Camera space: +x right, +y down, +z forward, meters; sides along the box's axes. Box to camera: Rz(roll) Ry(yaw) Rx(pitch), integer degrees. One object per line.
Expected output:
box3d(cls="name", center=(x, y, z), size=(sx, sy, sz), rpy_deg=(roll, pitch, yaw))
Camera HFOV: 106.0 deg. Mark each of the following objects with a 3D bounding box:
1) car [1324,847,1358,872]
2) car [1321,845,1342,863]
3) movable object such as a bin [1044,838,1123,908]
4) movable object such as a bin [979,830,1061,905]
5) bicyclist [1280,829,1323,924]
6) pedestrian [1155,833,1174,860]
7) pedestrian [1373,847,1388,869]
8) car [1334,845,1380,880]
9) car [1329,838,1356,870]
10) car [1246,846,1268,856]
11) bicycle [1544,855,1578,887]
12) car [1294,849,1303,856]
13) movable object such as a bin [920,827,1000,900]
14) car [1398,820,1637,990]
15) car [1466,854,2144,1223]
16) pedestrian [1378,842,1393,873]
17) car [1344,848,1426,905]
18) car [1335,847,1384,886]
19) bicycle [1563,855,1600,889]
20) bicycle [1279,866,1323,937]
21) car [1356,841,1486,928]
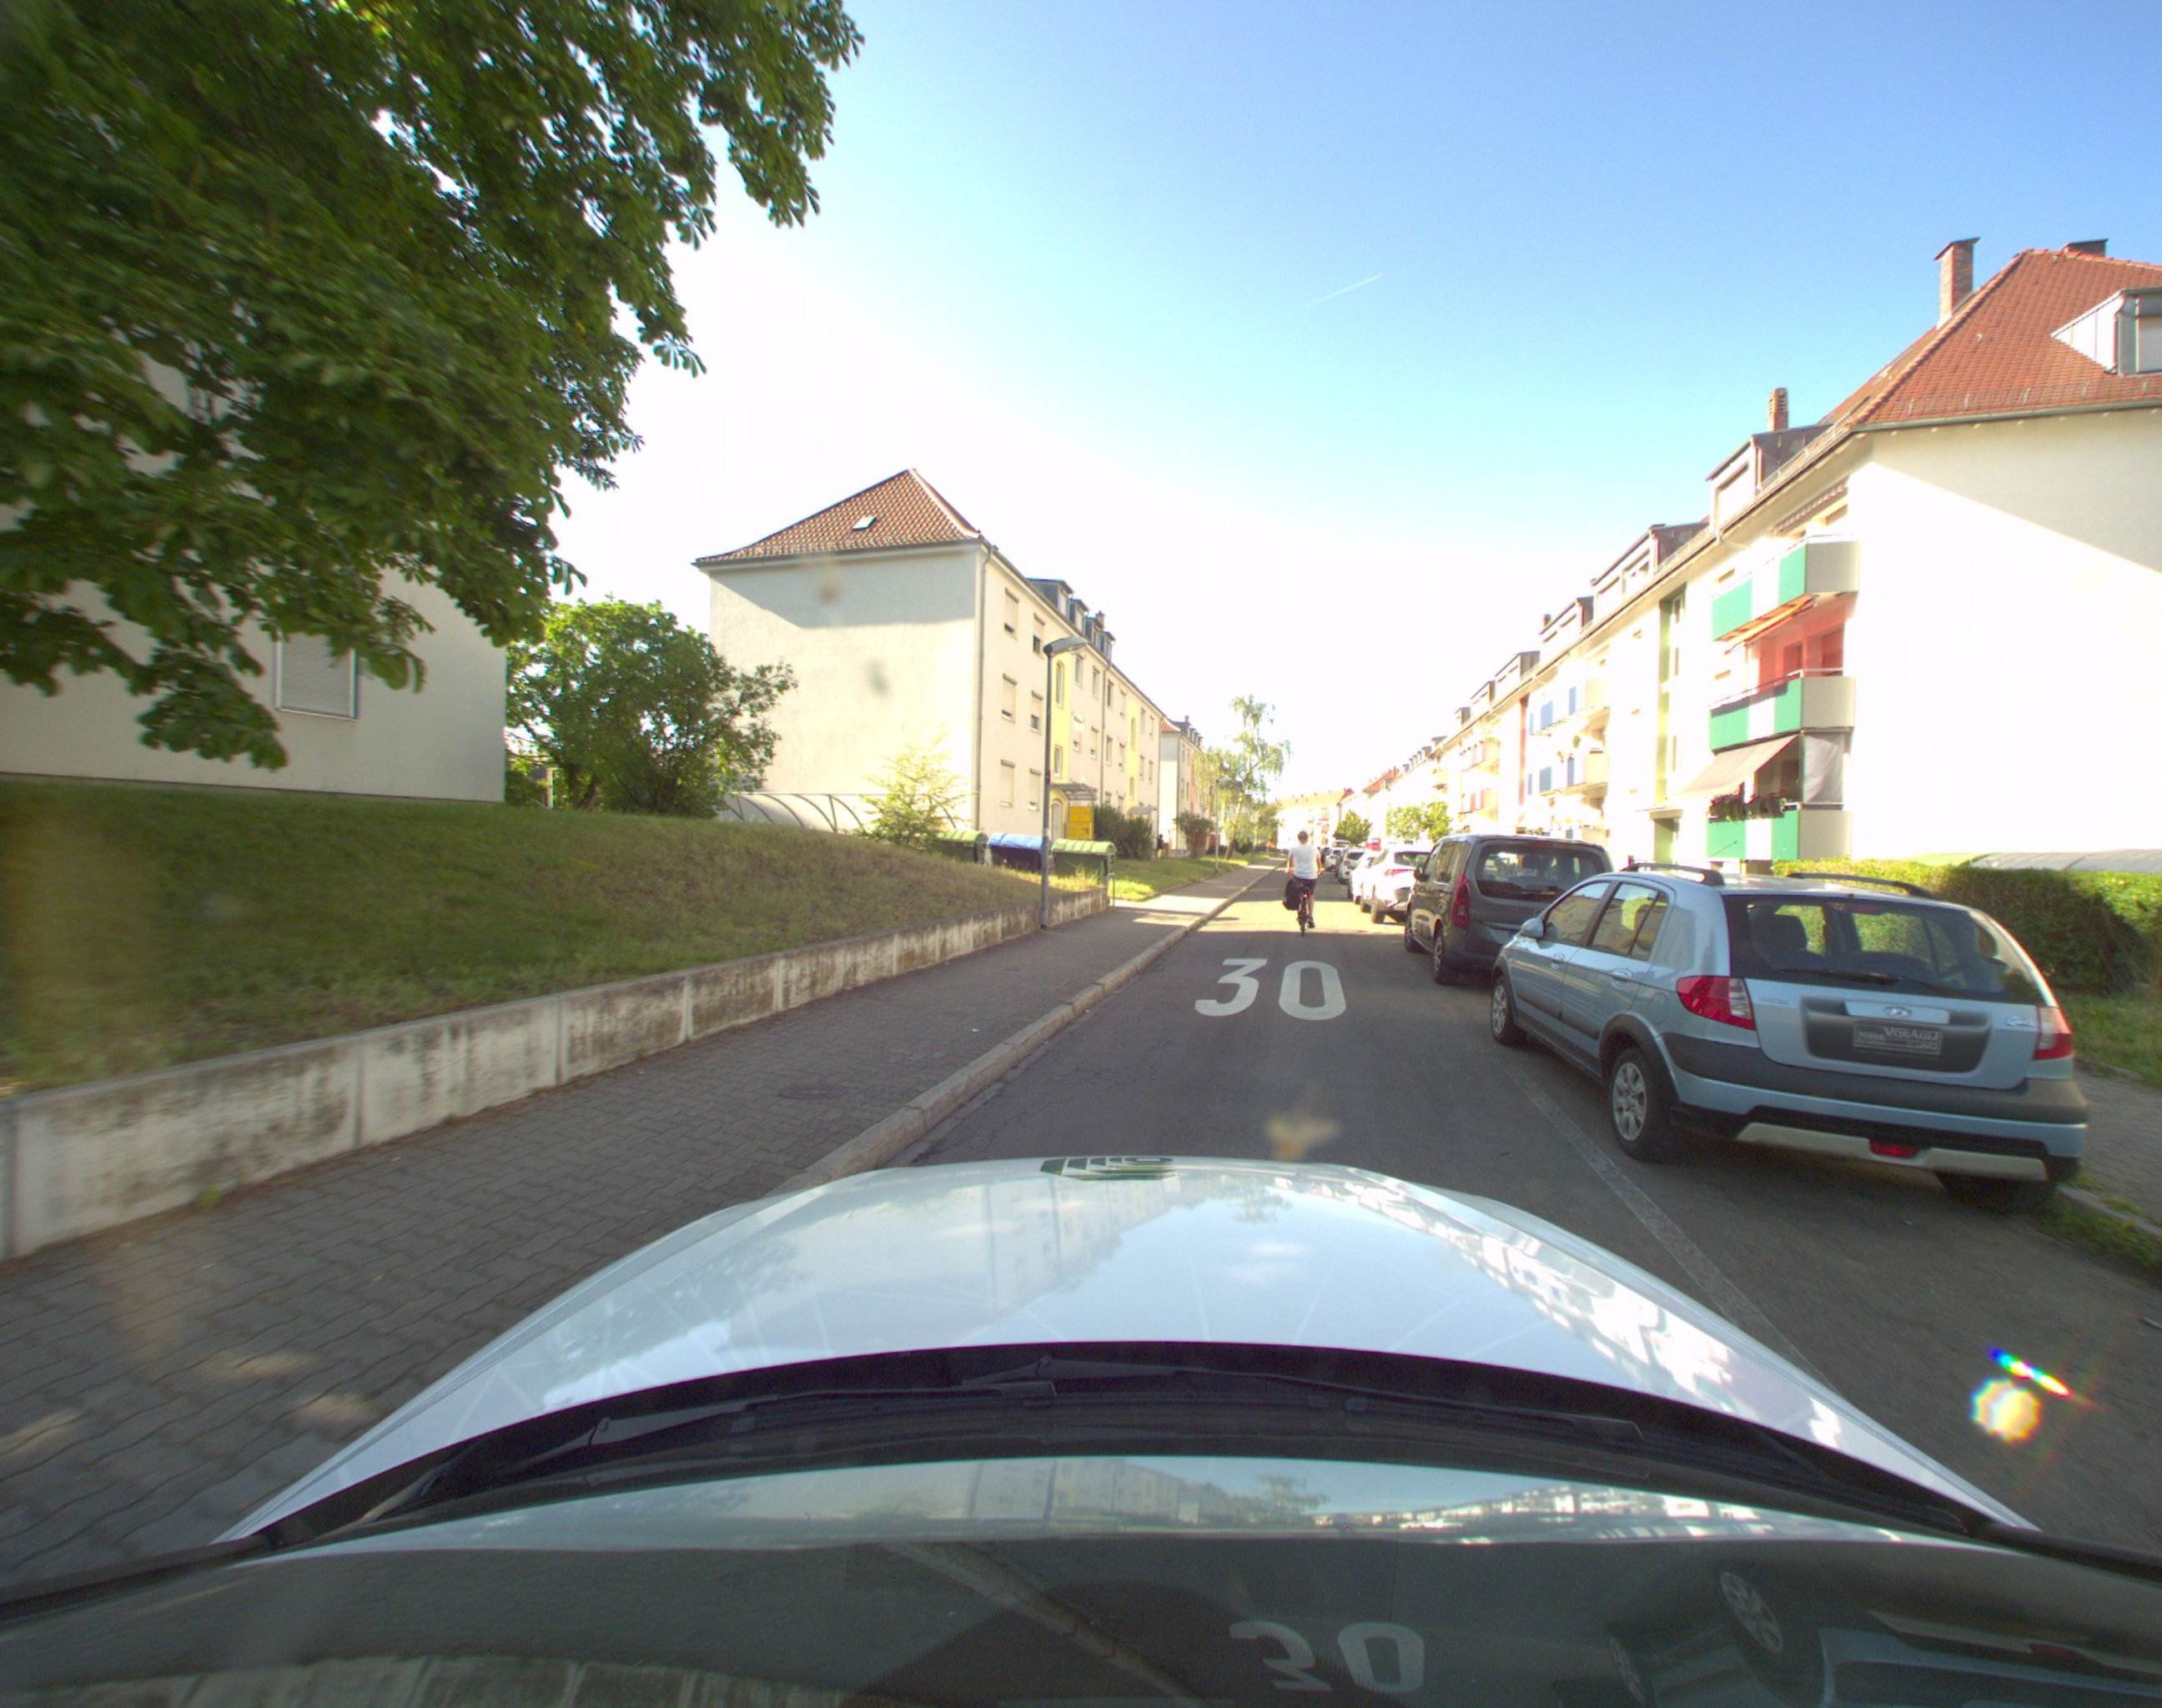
box3d(cls="car", center=(16.592, 0.327, 52.072), size=(1.880, 1.496, 4.109), rpy_deg=(1, 1, 15))
box3d(cls="car", center=(23.709, -0.009, 77.114), size=(1.792, 1.604, 4.422), rpy_deg=(1, 1, 15))
box3d(cls="movable object such as a bin", center=(0.078, 0.411, 18.407), size=(1.481, 1.478, 1.270), rpy_deg=(1, 0, 15))
box3d(cls="movable object such as a bin", center=(-1.381, 0.294, 18.697), size=(1.488, 1.622, 1.269), rpy_deg=(1, 0, 15))
box3d(cls="bicyclist", center=(3.880, 0.381, 14.364), size=(0.689, 1.596, 0.794), rpy_deg=(1, 0, 14))
box3d(cls="pedestrian", center=(4.809, -0.417, 46.956), size=(0.857, 1.521, 1.072), rpy_deg=(1, 0, 15))
box3d(cls="pedestrian", center=(23.135, 0.291, 62.897), size=(0.797, 1.677, 0.706), rpy_deg=(0, 0, -39))
box3d(cls="car", center=(13.272, 0.383, 39.342), size=(1.821, 1.557, 4.016), rpy_deg=(1, 1, 15))
box3d(cls="car", center=(18.465, -0.005, 57.635), size=(1.607, 2.143, 4.016), rpy_deg=(1, 0, 15))
box3d(cls="car", center=(33.734, -0.631, 155.821), size=(3.958, 1.801, 2.008), rpy_deg=(1, 0, 14))
box3d(cls="bicycle", center=(16.426, 0.571, 27.910), size=(0.510, 1.054, 1.873), rpy_deg=(1, 0, 15))
box3d(cls="car", center=(45.276, -0.313, 169.537), size=(1.745, 1.575, 3.916), rpy_deg=(1, 1, 12))
box3d(cls="movable object such as a bin", center=(-2.810, 0.202, 19.039), size=(1.448, 1.613, 1.196), rpy_deg=(1, 0, 15))
box3d(cls="car", center=(5.383, 0.506, 10.683), size=(1.850, 1.730, 4.313), rpy_deg=(1, 1, 16))
box3d(cls="car", center=(3.905, 0.746, 5.366), size=(1.642, 1.429, 3.913), rpy_deg=(1, 1, 13))
box3d(cls="pedestrian", center=(20.041, 0.244, 53.592), size=(0.785, 2.013, 1.087), rpy_deg=(1, 0, 15))
box3d(cls="car", center=(8.450, 0.562, 22.891), size=(1.744, 1.432, 3.643), rpy_deg=(2, 1, 14))
box3d(cls="car", center=(11.778, 0.483, 34.604), size=(1.620, 1.490, 3.637), rpy_deg=(3, 1, 14))
box3d(cls="bicycle", center=(17.053, 0.582, 27.770), size=(0.555, 1.104, 1.837), rpy_deg=(1, 0, 15))
box3d(cls="bicycle", center=(3.870, 0.801, 14.395), size=(0.656, 1.127, 1.772), rpy_deg=(2, 1, 14))
box3d(cls="car", center=(7.136, 0.560, 17.507), size=(1.968, 1.592, 4.141), rpy_deg=(1, 1, 14))
